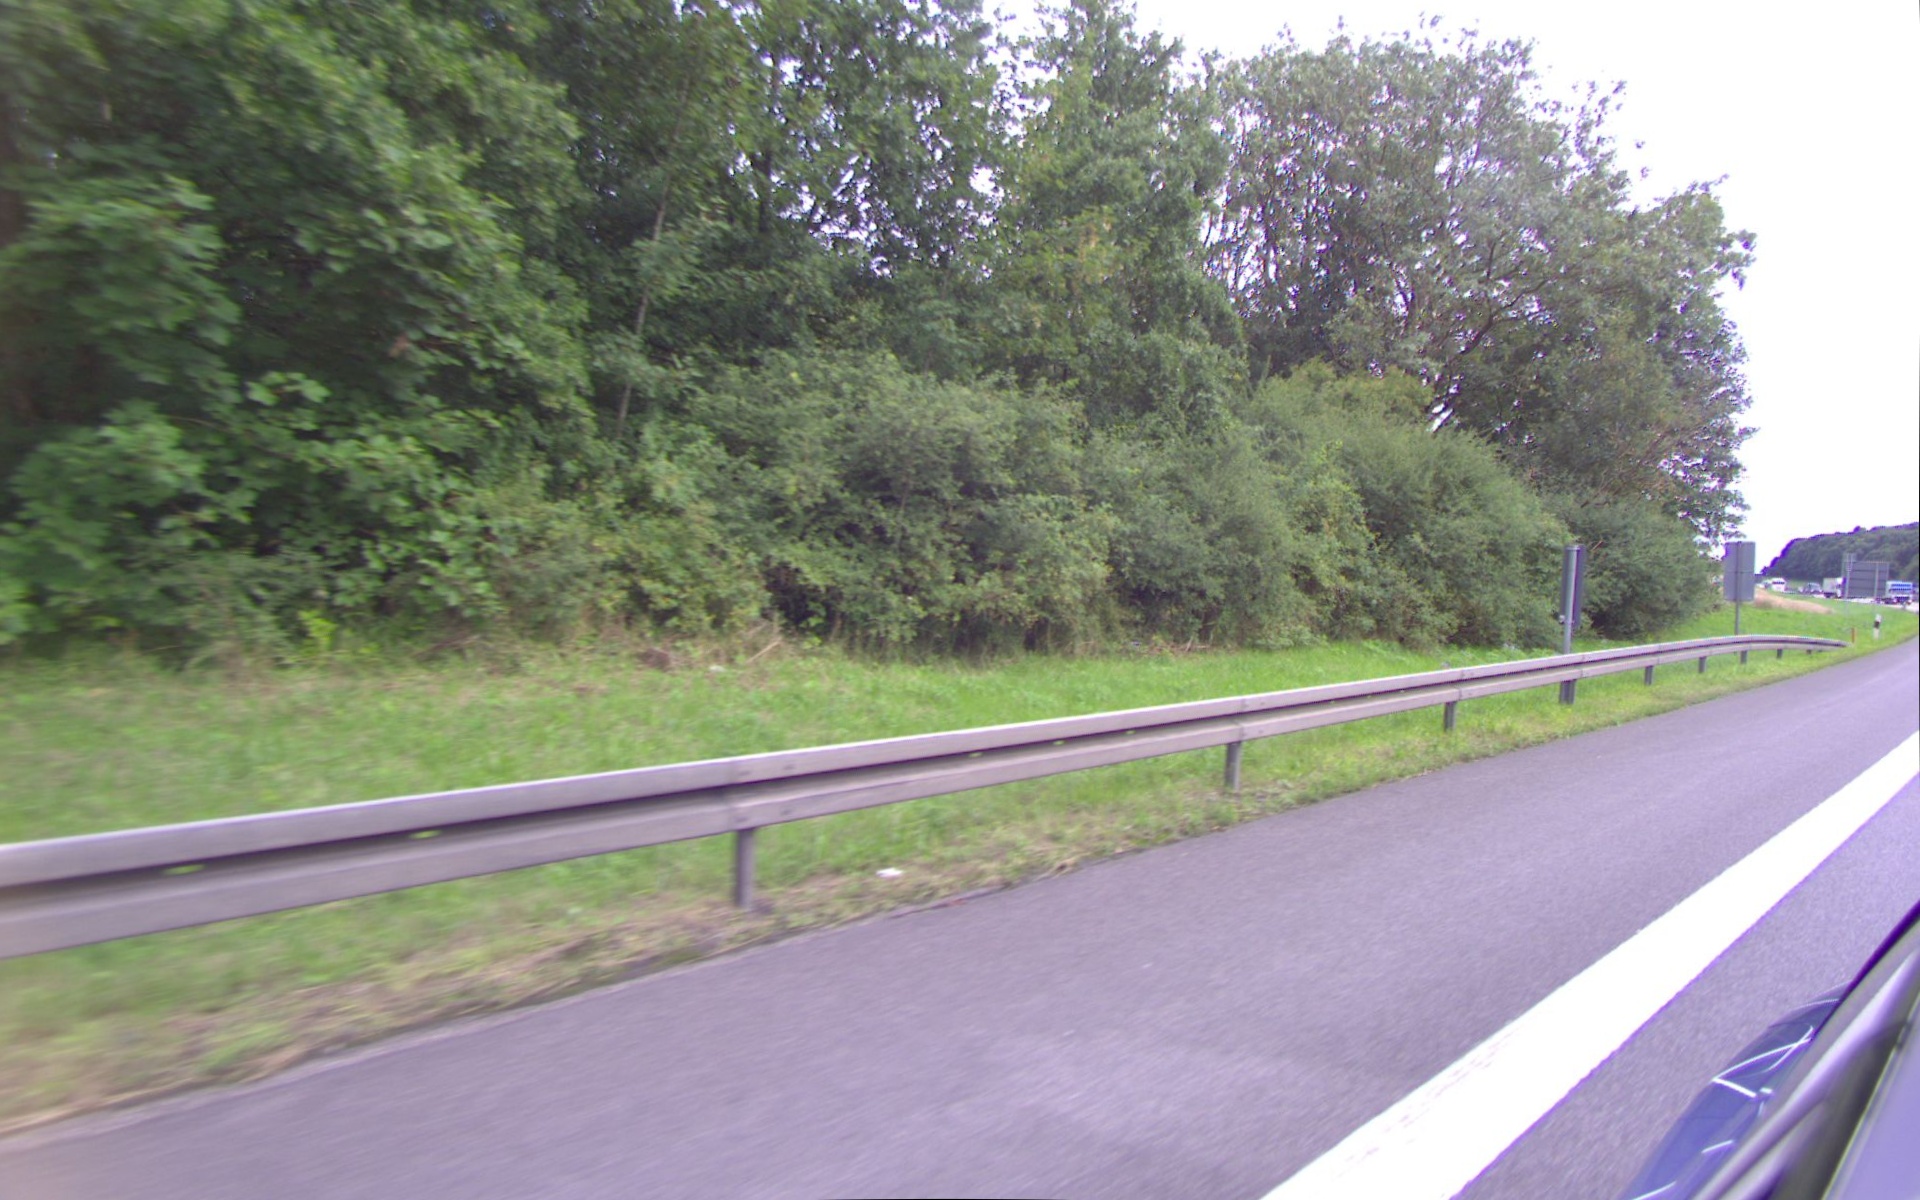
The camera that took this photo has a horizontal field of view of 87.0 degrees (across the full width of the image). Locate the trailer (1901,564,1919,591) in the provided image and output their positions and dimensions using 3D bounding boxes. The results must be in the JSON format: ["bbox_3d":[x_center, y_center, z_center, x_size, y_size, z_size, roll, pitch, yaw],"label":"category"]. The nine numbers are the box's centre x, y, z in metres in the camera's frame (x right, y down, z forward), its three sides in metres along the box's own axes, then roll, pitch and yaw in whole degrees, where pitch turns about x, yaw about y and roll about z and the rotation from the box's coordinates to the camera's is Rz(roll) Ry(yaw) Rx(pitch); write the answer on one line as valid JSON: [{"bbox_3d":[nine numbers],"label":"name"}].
[{"bbox_3d":[147.424,-3.479,156.198,2.777,4.004,11.129,2,2,41],"label":"trailer"}]

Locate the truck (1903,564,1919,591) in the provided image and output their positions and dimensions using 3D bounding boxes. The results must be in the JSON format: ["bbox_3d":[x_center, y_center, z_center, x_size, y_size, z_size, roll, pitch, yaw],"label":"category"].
[{"bbox_3d":[143.512,-3.389,151.710,2.787,4.020,5.851,2,2,42],"label":"truck"}]
